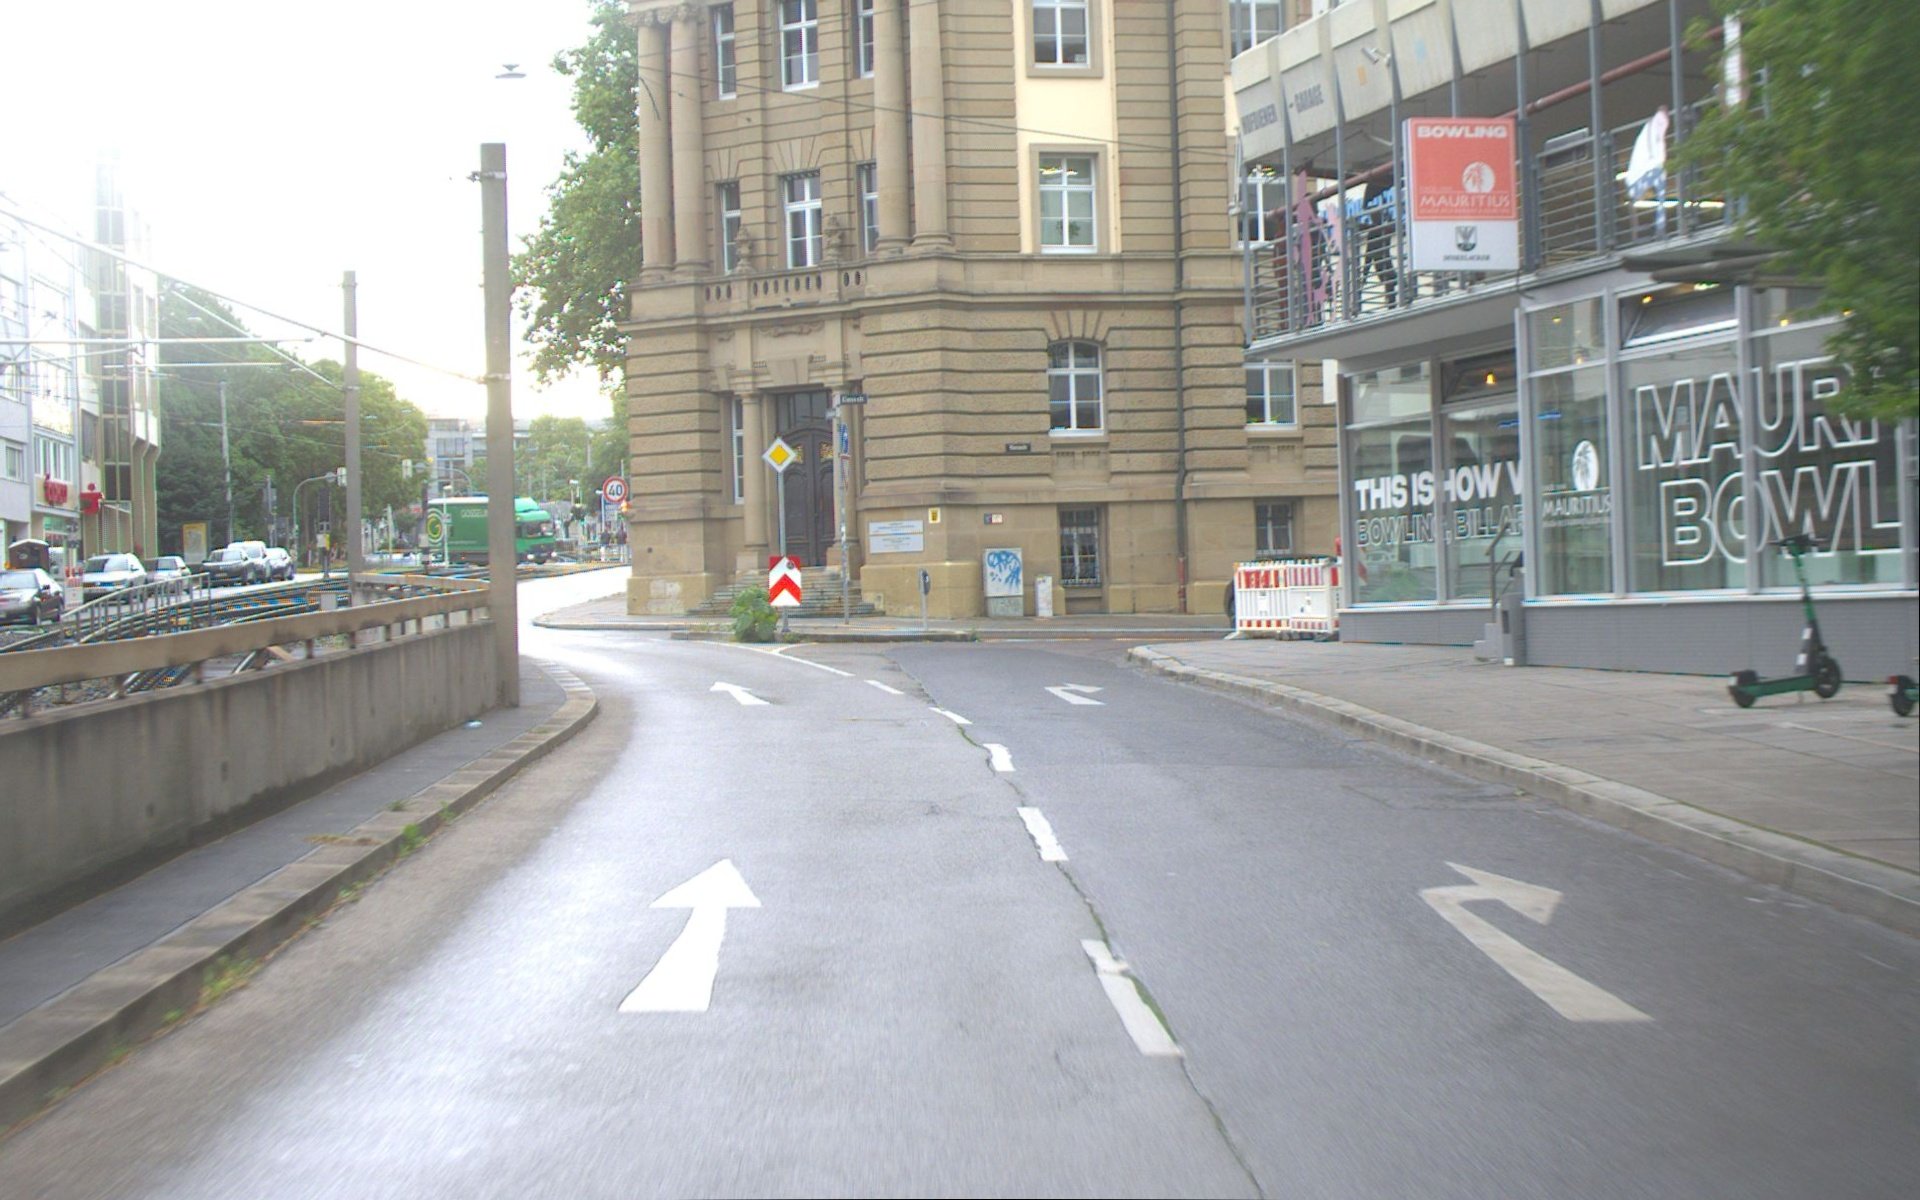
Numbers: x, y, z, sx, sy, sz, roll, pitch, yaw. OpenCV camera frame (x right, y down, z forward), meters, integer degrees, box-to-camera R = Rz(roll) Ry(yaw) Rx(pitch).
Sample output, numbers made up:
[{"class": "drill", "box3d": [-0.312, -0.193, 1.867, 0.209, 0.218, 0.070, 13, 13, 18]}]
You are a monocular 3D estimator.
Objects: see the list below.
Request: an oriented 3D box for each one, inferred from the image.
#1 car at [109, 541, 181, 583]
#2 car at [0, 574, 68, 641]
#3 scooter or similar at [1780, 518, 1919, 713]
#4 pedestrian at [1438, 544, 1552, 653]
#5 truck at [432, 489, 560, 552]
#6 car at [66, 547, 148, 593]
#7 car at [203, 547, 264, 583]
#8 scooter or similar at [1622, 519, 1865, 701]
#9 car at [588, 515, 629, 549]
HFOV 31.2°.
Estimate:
[{"class": "car", "box3d": [-29.344, -1.382, 123.855, 1.993, 1.451, 4.312, 0, 1, -6]}, {"class": "car", "box3d": [-22.429, 0.161, 81.382, 1.993, 1.522, 3.663, 0, 1, -6]}, {"class": "scooter or similar", "box3d": [6.592, 0.080, 23.784, 1.635, 1.263, 0.743, -3, 2, -25]}, {"class": "pedestrian", "box3d": [5.633, -0.023, 36.248, 0.752, 1.119, 1.247, -1, 1, -15]}, {"class": "truck", "box3d": [-25.860, -4.423, 191.460, 7.919, 3.375, 1.996, 2, 1, 37]}, {"class": "car", "box3d": [-27.666, -0.981, 111.584, 1.993, 1.451, 4.312, 0, 1, -6]}, {"class": "car", "box3d": [-29.679, -1.447, 140.510, 1.993, 1.451, 4.312, 0, 1, -6]}, {"class": "scooter or similar", "box3d": [5.918, 0.062, 25.950, 1.635, 1.263, 0.743, -3, 2, -25]}, {"class": "car", "box3d": [-17.427, -3.358, 170.607, 1.993, 1.656, 4.001, 0, 1, -6]}]
